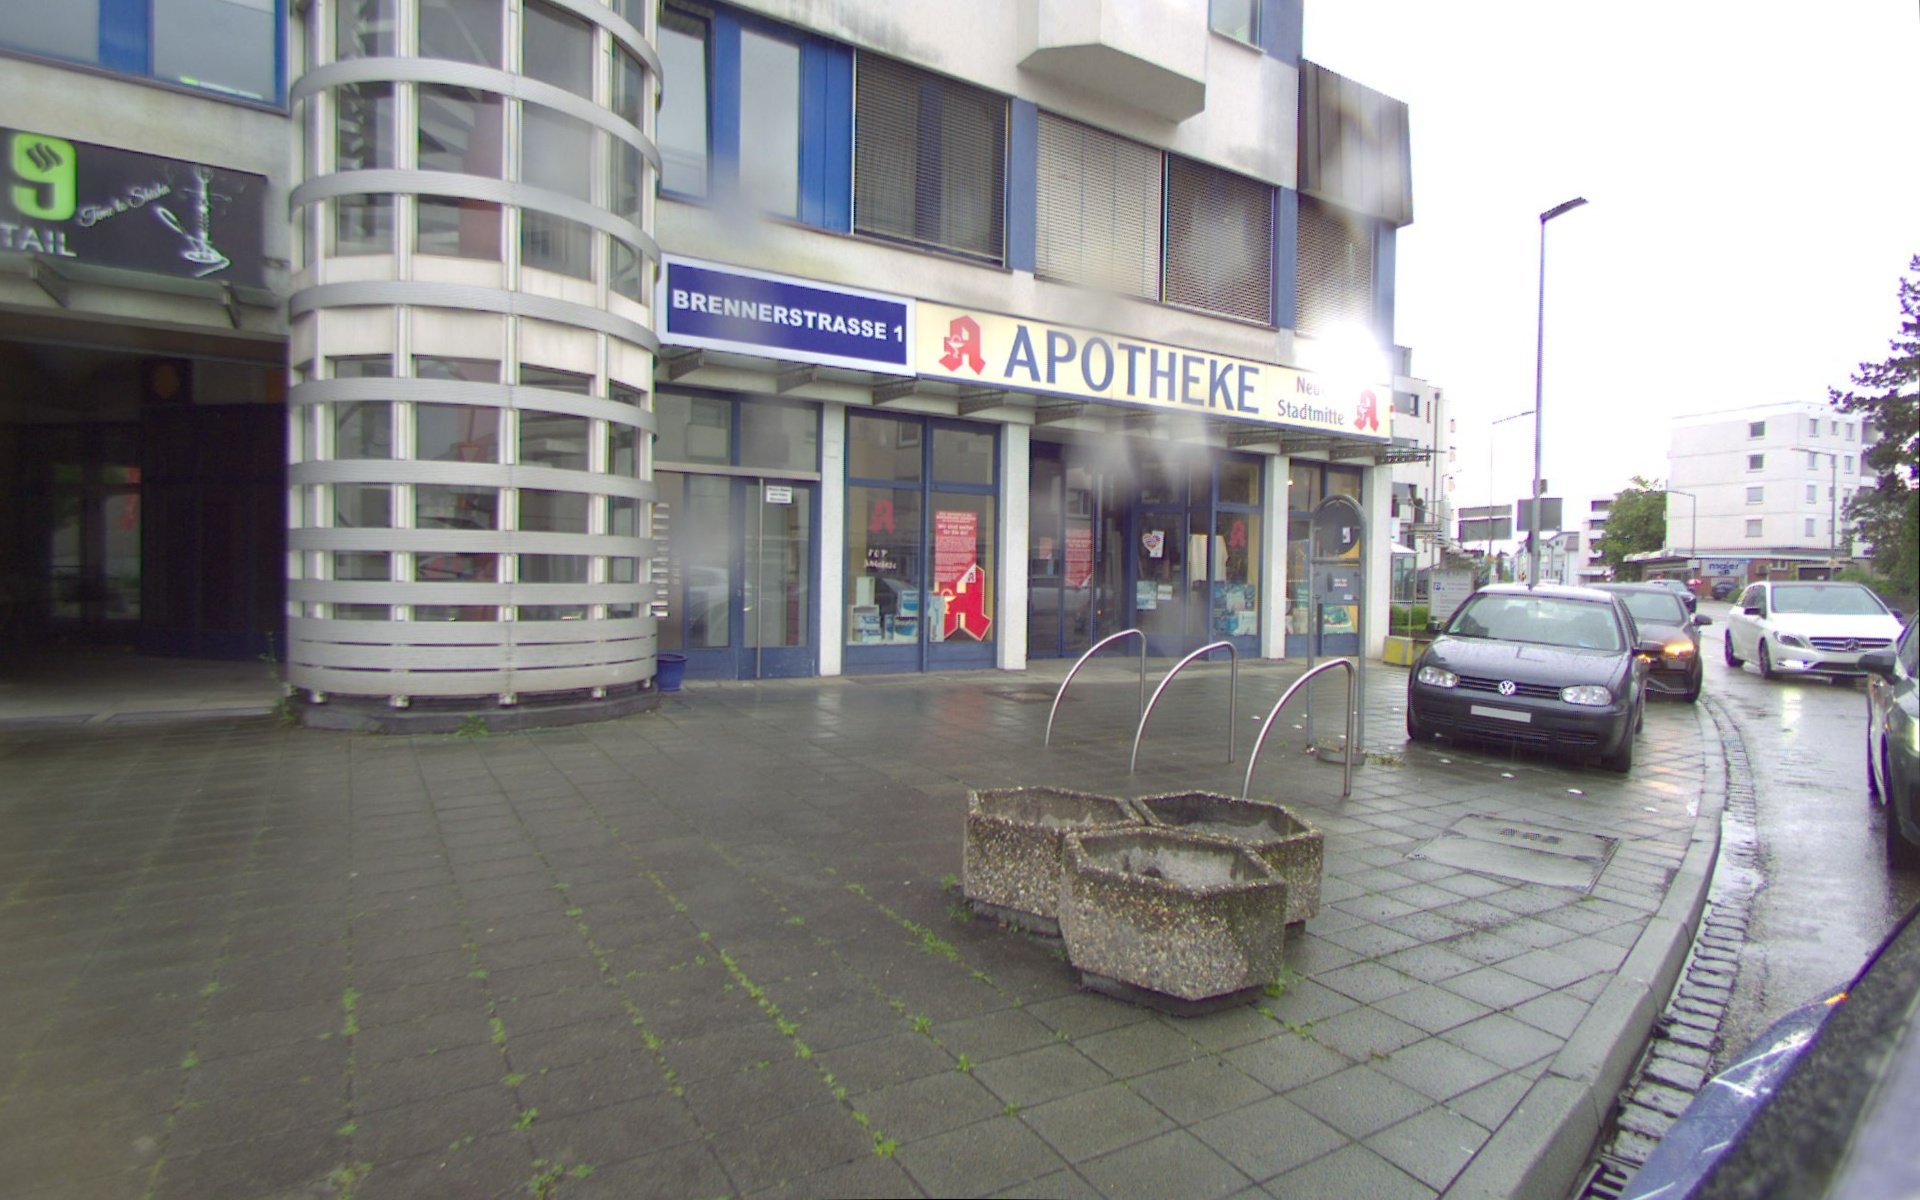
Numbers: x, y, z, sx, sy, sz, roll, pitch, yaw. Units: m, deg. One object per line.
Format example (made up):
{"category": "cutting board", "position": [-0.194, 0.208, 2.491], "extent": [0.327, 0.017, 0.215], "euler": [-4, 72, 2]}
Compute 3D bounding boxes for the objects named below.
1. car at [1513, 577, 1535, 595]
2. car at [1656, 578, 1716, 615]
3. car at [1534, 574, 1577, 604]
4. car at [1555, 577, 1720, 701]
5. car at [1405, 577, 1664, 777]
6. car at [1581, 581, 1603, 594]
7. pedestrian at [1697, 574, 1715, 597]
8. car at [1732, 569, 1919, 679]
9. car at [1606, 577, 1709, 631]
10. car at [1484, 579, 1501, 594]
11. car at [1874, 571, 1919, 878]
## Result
{"category": "car", "position": [54.817, -1.365, 98.337], "extent": [1.730, 1.660, 3.959], "euler": [2, 2, 30]}
{"category": "car", "position": [32.211, -0.191, 45.001], "extent": [1.737, 1.472, 3.775], "euler": [1, 3, 29]}
{"category": "car", "position": [34.037, -0.656, 57.957], "extent": [1.982, 1.635, 3.959], "euler": [-1, 1, 29]}
{"category": "car", "position": [9.427, 0.415, 14.026], "extent": [1.650, 1.442, 3.949], "euler": [2, 2, 36]}
{"category": "car", "position": [5.473, 0.526, 9.423], "extent": [1.646, 1.388, 3.683], "euler": [5, 4, 36]}
{"category": "car", "position": [72.087, -1.460, 115.415], "extent": [1.855, 1.454, 3.704], "euler": [1, 2, 28]}
{"category": "pedestrian", "position": [58.378, -1.115, 79.185], "extent": [0.845, 1.757, 0.831], "euler": [1, 2, 20]}
{"category": "car", "position": [14.018, 0.314, 16.439], "extent": [1.719, 1.547, 4.022], "euler": [2, 1, 29]}
{"category": "car", "position": [20.312, 0.060, 29.640], "extent": [1.783, 1.385, 3.941], "euler": [1, 3, 25]}
{"category": "car", "position": [64.520, -1.660, 122.715], "extent": [1.728, 1.660, 3.964], "euler": [1, 2, 27]}
{"category": "car", "position": [6.607, 0.581, 5.903], "extent": [1.728, 1.462, 3.989], "euler": [1, 2, 40]}
